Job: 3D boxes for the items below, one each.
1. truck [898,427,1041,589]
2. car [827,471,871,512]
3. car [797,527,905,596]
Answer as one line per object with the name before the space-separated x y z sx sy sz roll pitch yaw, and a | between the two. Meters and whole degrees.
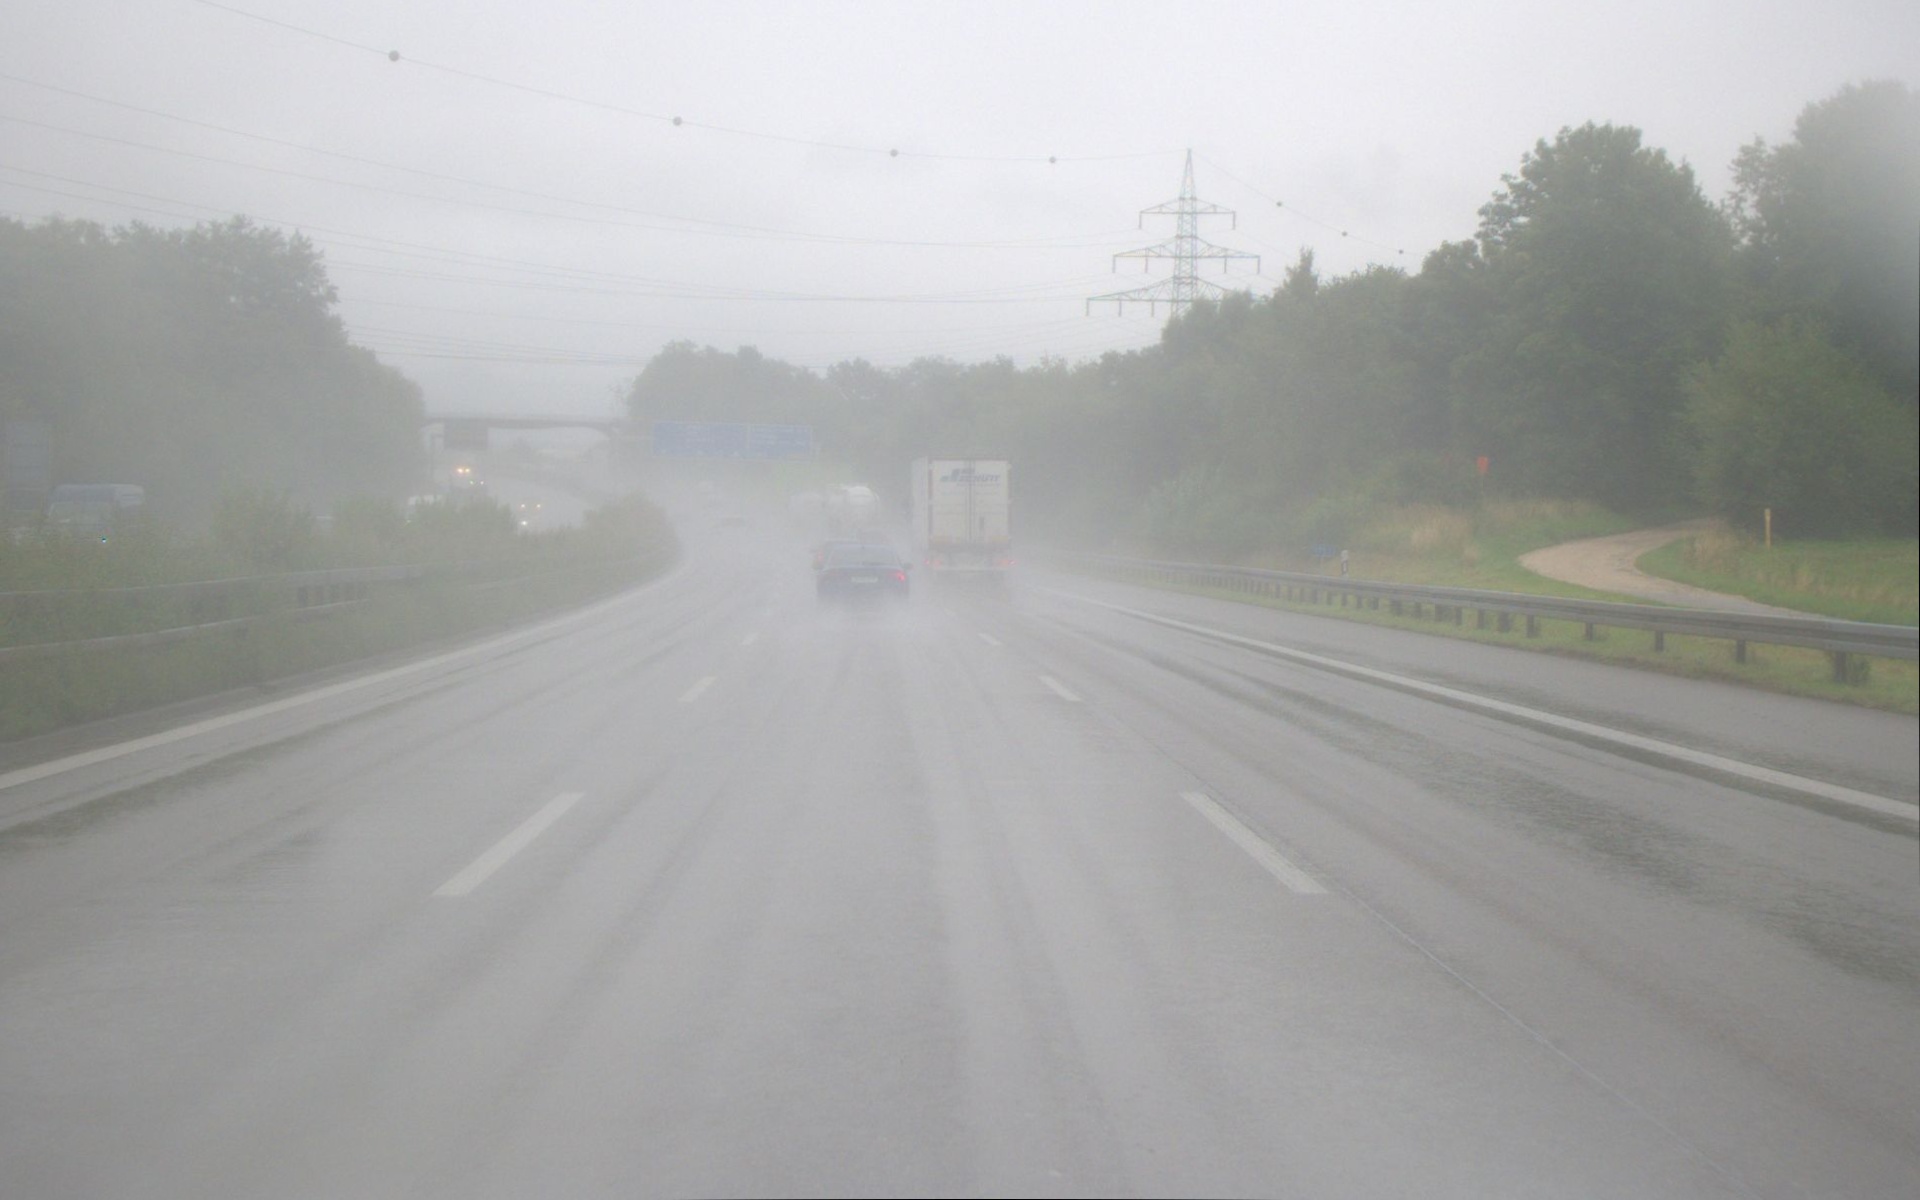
truck | 0.499 -3.104 114.999 4.257 4.955 17.341 0 2 2
car | -6.527 -6.359 201.793 2.393 2.264 5.003 2 2 -4
car | -2.091 -0.774 66.831 1.749 1.208 4.000 3 1 3
